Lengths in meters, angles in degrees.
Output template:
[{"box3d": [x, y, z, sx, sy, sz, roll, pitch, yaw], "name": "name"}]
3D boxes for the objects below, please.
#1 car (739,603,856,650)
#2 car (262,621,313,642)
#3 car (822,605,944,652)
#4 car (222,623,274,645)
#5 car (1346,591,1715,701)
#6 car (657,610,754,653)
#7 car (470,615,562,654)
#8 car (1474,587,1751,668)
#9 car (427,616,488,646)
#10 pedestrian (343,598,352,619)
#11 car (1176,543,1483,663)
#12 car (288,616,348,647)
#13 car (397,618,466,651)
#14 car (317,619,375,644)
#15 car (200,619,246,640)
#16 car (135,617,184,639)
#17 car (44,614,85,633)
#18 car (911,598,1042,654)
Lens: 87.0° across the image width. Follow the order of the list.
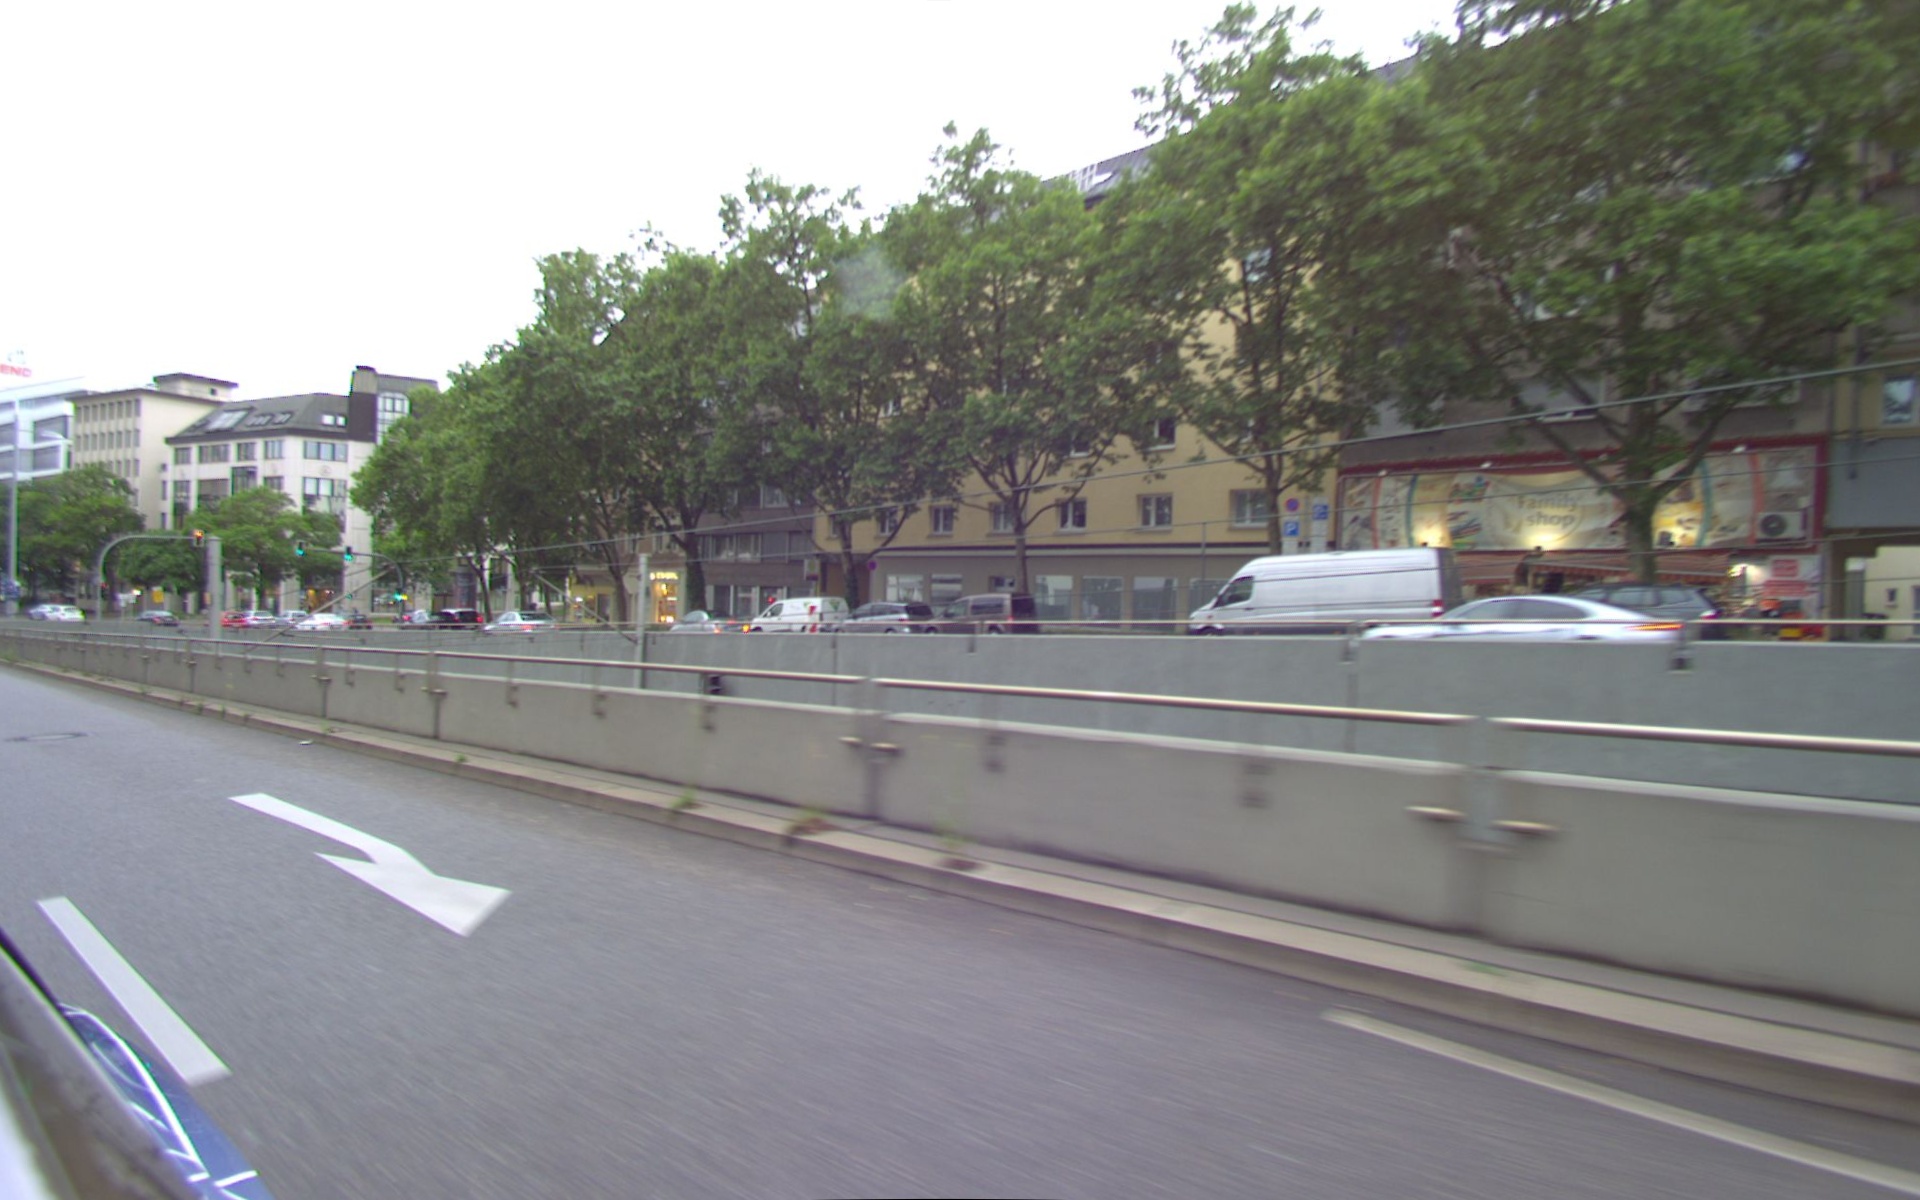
[{"box3d": [-6.579, 1.055, 40.688, 4.895, 1.778, 1.859, -2, -1, 39], "name": "car"}, {"box3d": [-52.841, 2.452, 79.543, 3.927, 1.521, 1.782, 0, 1, 30], "name": "car"}, {"box3d": [-2.864, 1.048, 37.135, 4.471, 1.595, 1.857, -2, -1, 41], "name": "car"}, {"box3d": [-53.417, 2.548, 75.944, 3.987, 1.522, 1.780, 0, -1, 32], "name": "car"}, {"box3d": [9.104, 0.686, 16.450, 4.883, 1.522, 2.004, -2, -1, 43], "name": "car"}, {"box3d": [-9.863, 1.210, 39.088, 4.018, 1.522, 1.825, -2, -1, 45], "name": "car"}, {"box3d": [-18.913, 1.451, 43.007, 4.821, 1.522, 1.826, -2, -1, 43], "name": "car"}, {"box3d": [13.636, 0.560, 21.356, 4.671, 1.522, 1.775, -2, -1, 43], "name": "car"}, {"box3d": [-28.458, 1.755, 57.247, 4.016, 1.592, 1.775, -2, -1, 43], "name": "car"}, {"box3d": [-54.694, 0.756, 90.368, 0.582, 1.822, 0.675, -1, 0, -43], "name": "pedestrian"}, {"box3d": [9.190, 0.126, 25.800, 6.931, 2.682, 2.426, -2, -1, 43], "name": "car"}, {"box3d": [-39.123, 1.904, 61.644, 4.727, 1.783, 1.776, 0, -1, 40], "name": "car"}, {"box3d": [-26.772, 1.720, 51.171, 4.345, 1.522, 1.774, 0, -1, 43], "name": "car"}, {"box3d": [-40.524, 2.080, 66.753, 3.989, 1.521, 1.780, 0, 1, 34], "name": "car"}, {"box3d": [-51.410, 2.038, 70.595, 3.875, 1.411, 1.569, 0, -1, 38], "name": "car"}, {"box3d": [-61.110, 2.126, 77.243, 4.827, 1.569, 1.778, 0, -1, 37], "name": "car"}, {"box3d": [-76.206, 1.992, 86.112, 3.990, 1.573, 1.779, 0, -1, 35], "name": "car"}, {"box3d": [0.501, 0.859, 33.698, 4.203, 1.742, 1.776, -2, -1, 40], "name": "car"}]
